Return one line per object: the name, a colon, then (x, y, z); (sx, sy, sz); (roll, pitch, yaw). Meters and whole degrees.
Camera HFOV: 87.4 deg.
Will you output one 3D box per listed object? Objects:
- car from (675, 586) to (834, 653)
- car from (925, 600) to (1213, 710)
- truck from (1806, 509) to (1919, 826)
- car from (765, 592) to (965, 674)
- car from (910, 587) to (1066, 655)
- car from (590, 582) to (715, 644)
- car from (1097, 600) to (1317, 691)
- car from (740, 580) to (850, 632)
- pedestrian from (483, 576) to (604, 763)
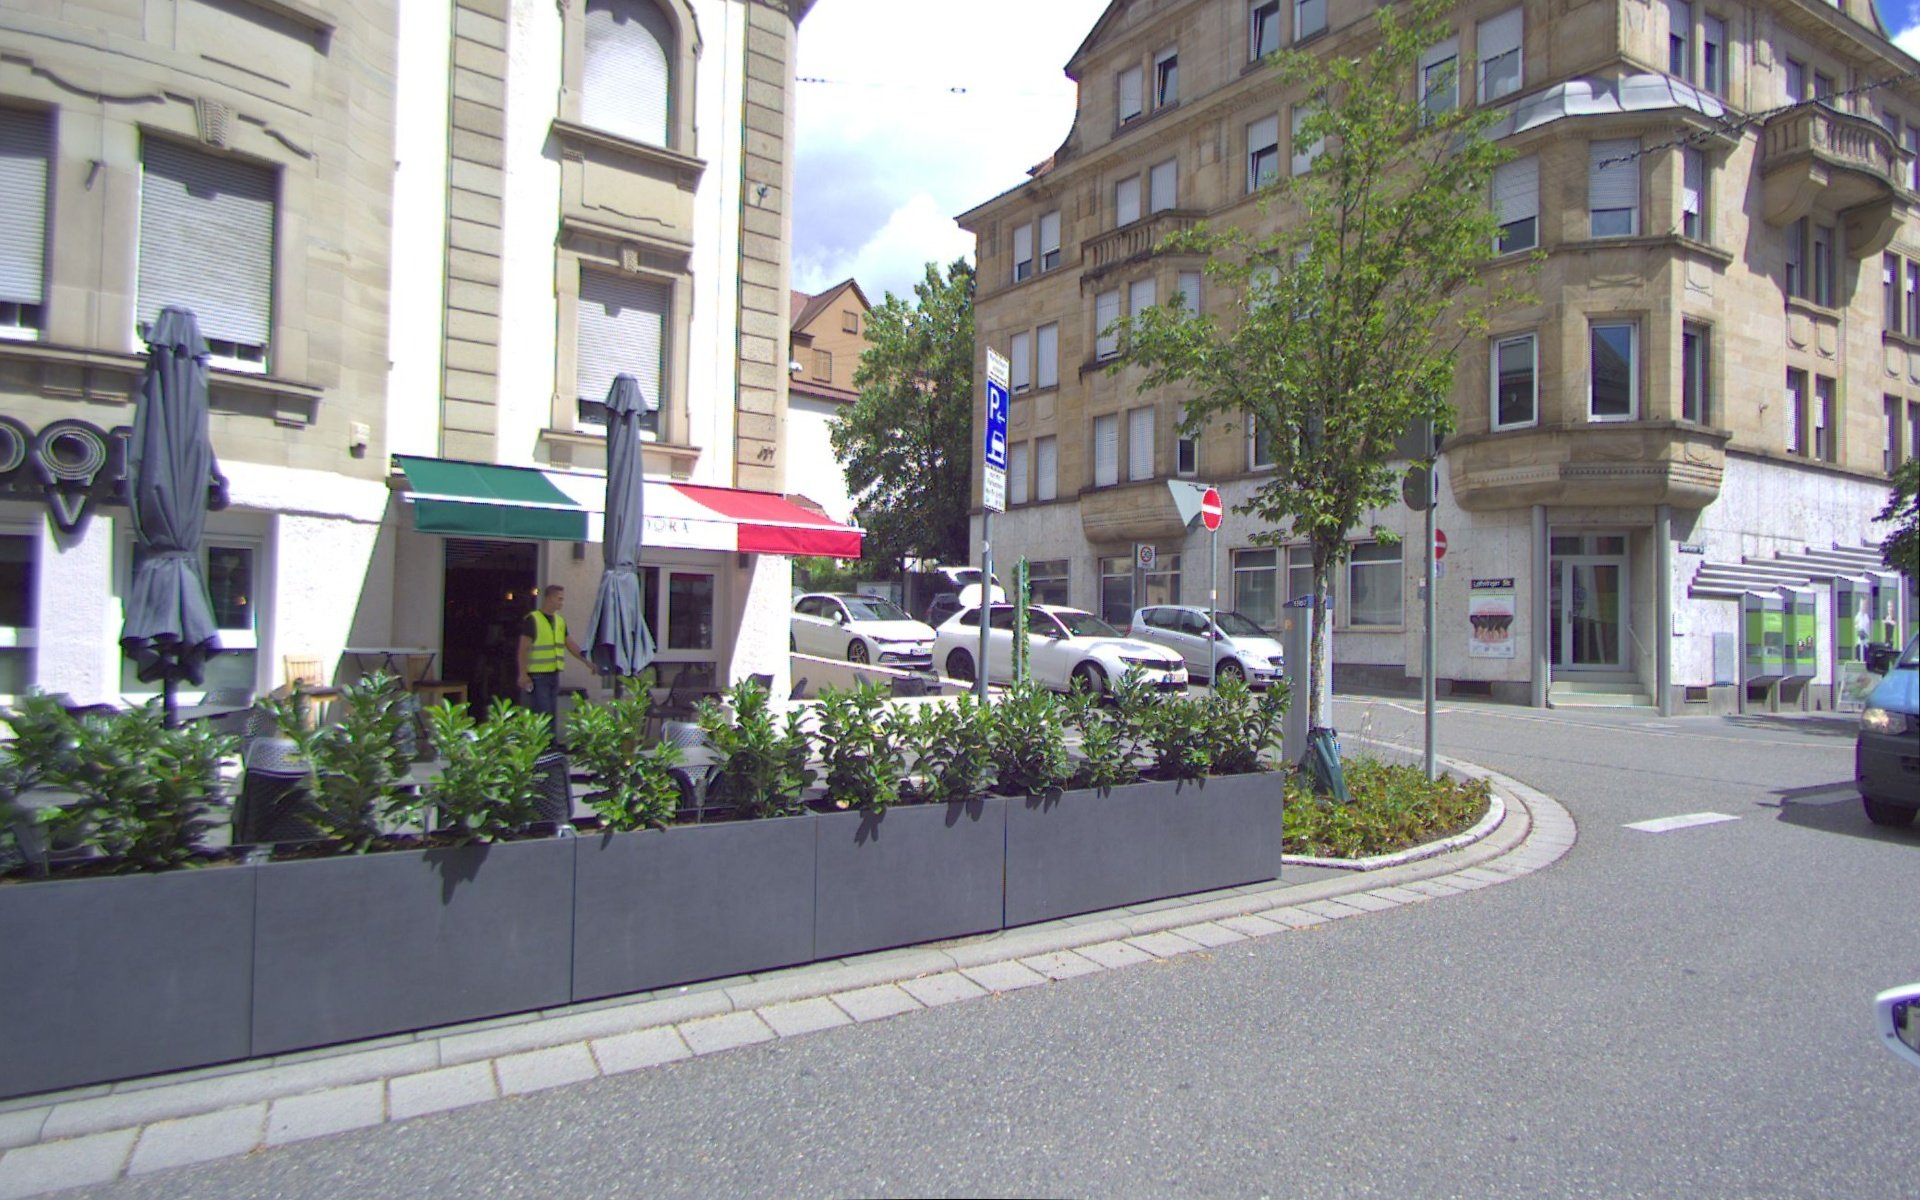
car: (-5.071, 0.440, 24.456); (1.819, 1.399, 4.178); (3, 0, -44)
car: (1.627, 0.799, 16.202); (1.987, 1.399, 4.330); (3, 0, -44)
truck: (10.030, 0.633, 8.689); (6.400, 2.336, 2.096); (3, -1, -30)
car: (-2.020, 0.619, 20.411); (1.819, 1.399, 4.178); (3, 0, -44)
car: (0.661, 0.514, 26.659); (1.981, 1.582, 4.175); (3, 0, -36)
car: (-8.589, 0.327, 27.884); (1.842, 1.564, 3.951); (2, 0, -41)
car: (5.055, 0.894, 21.046); (1.981, 1.582, 4.175); (3, 0, -36)
car: (-5.647, 0.168, 33.998); (1.981, 1.582, 4.175); (3, 0, -36)
pedestrian: (-4.190, 0.669, 10.117); (0.801, 1.780, 0.797); (2, -1, 41)
